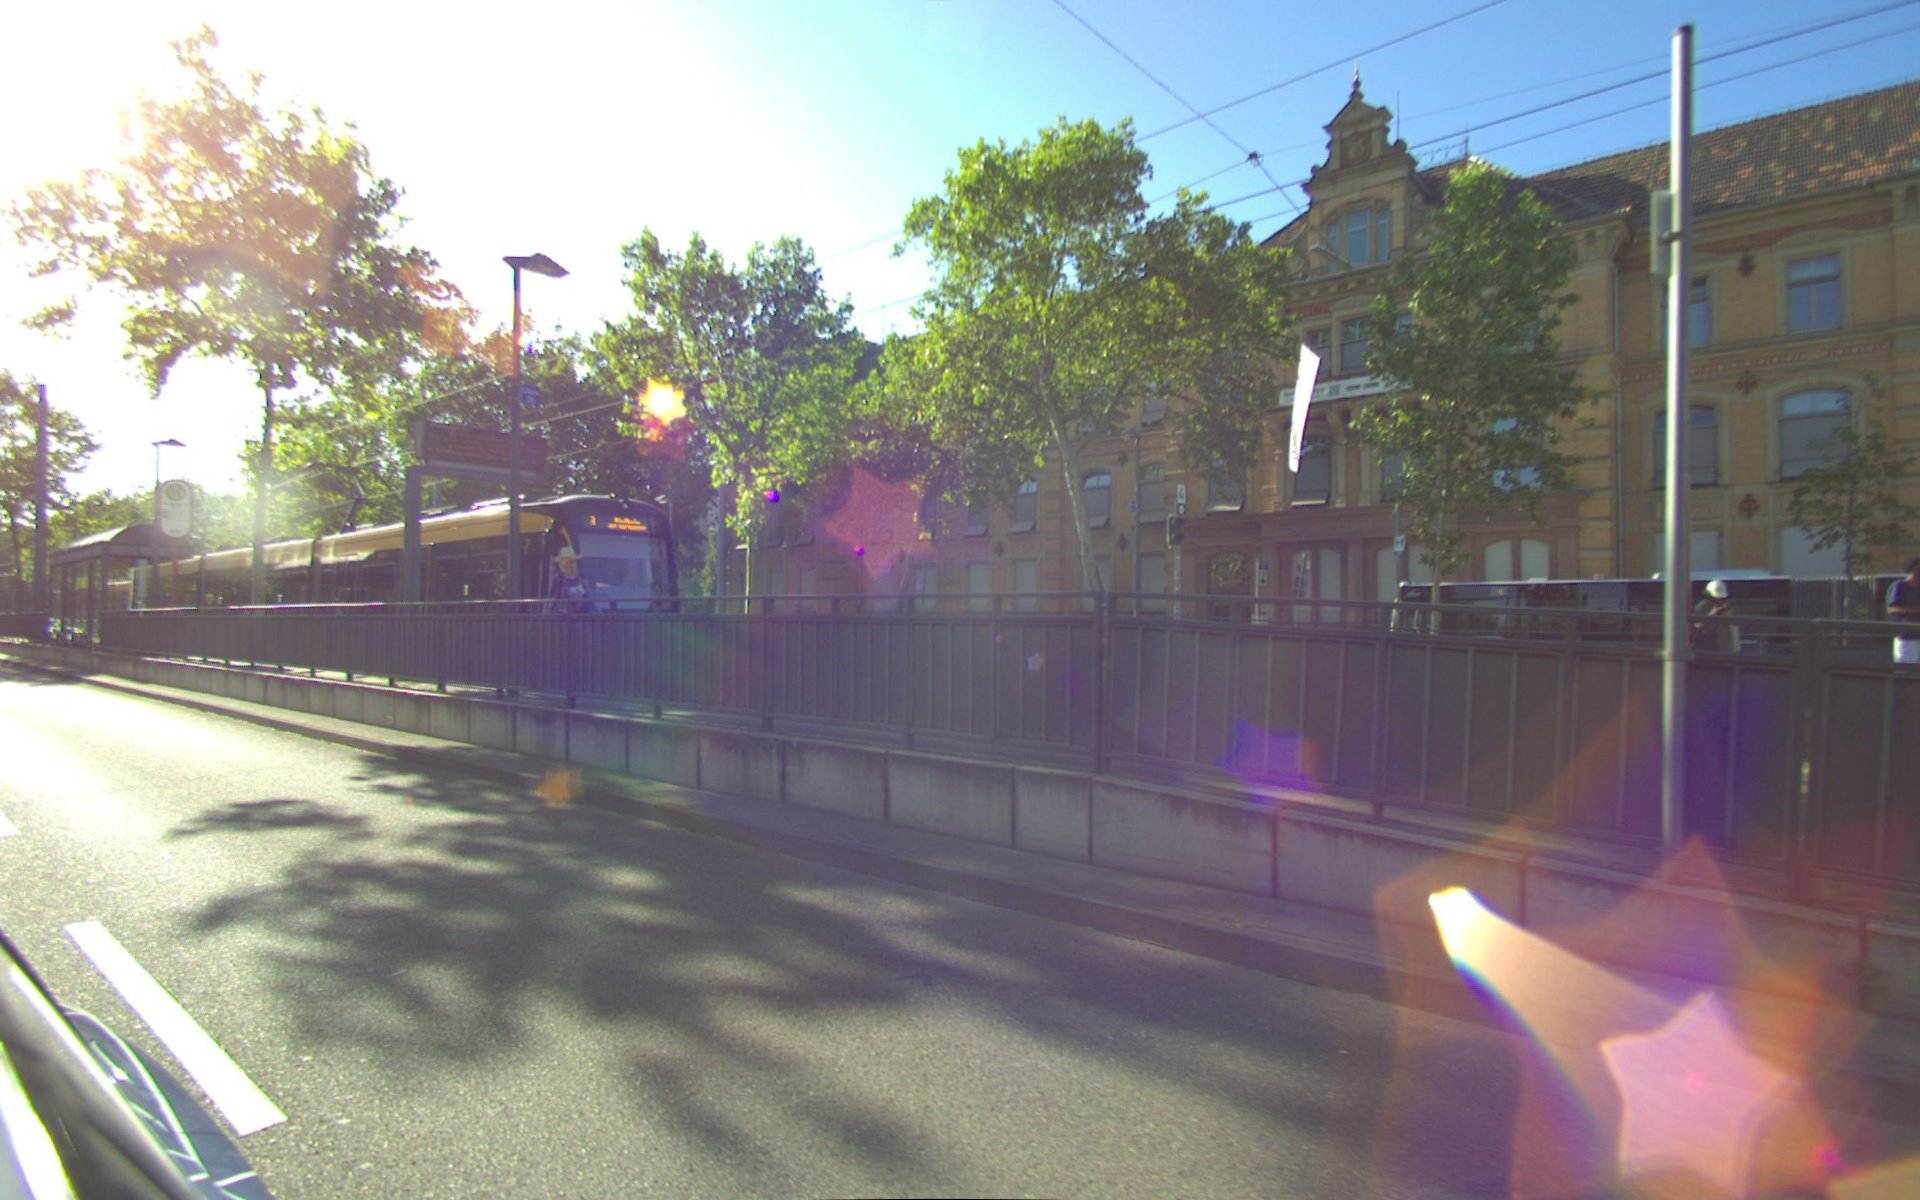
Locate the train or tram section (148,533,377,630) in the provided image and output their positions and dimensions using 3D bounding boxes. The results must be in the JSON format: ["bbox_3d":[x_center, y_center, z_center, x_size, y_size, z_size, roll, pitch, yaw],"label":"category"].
[{"bbox_3d":[-22.954,-0.356,32.647,15.066,2.551,2.536,-1,-2,42],"label":"train or tram section"}]

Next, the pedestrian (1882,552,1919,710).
[{"bbox_3d":[11.333,0.370,11.752,0.617,1.815,0.624,1,-3,0],"label":"pedestrian"}]

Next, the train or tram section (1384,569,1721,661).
[{"bbox_3d":[16.867,0.461,29.288,8.074,2.346,2.616,-1,-2,42],"label":"train or tram section"}]

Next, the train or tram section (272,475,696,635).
[{"bbox_3d":[-11.446,-0.591,22.481,15.668,2.584,2.536,-1,-2,42],"label":"train or tram section"}]

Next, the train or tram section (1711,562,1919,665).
[{"bbox_3d":[23.627,0.311,23.238,10.053,2.346,2.616,-1,-2,42],"label":"train or tram section"}]

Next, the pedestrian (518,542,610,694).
[{"bbox_3d":[-4.491,0.205,11.484,0.761,1.648,0.691,-1,-2,41],"label":"pedestrian"}]

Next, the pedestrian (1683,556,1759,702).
[{"bbox_3d":[9.737,0.378,12.974,0.622,1.815,0.619,0,-3,25],"label":"pedestrian"}]
